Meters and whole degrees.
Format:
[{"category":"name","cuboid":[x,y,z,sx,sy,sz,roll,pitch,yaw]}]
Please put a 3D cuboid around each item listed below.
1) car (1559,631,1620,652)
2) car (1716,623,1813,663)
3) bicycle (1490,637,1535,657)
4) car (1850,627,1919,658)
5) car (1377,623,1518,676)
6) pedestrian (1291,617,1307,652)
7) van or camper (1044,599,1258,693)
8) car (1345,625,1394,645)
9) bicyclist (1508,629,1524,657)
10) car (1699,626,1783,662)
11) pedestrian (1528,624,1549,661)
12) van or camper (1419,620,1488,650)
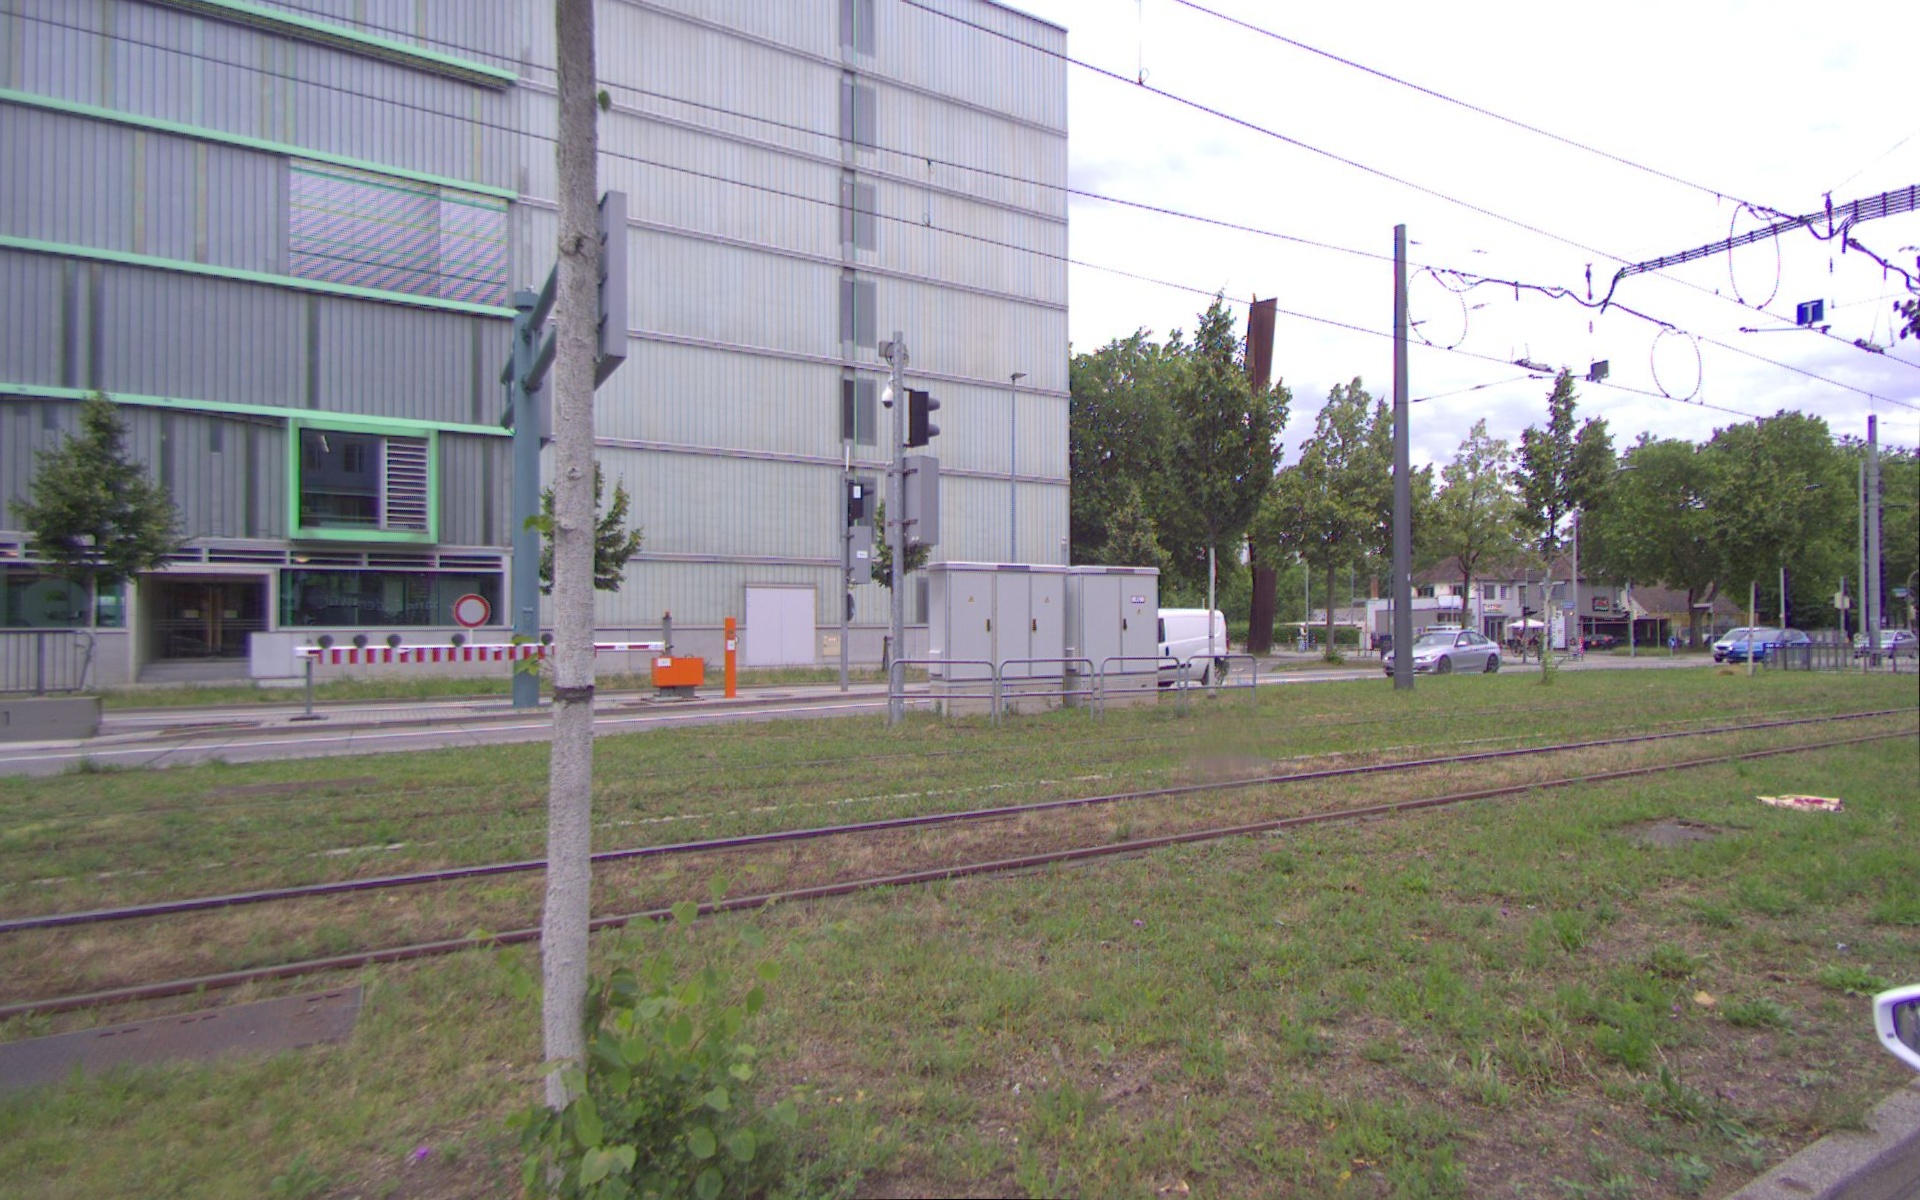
[{"category":"car","cuboid":[57.200,3.747,91.395,2.078,1.840,4.268,0,-1,-25]},{"category":"car","cuboid":[34.841,1.821,43.481,4.639,1.609,1.952,1,0,-33]},{"category":"bicycle","cuboid":[34.960,2.983,63.569,2.474,1.218,0.738,-1,-1,35]},{"category":"car","cuboid":[51.405,2.325,55.848,4.623,1.665,1.711,1,-1,-33]},{"category":"car","cuboid":[15.038,1.506,30.884,4.872,1.464,1.718,0,-3,-35]},{"category":"pedestrian","cuboid":[19.923,2.028,59.106,0.887,2.040,0.954,0,-1,18]},{"category":"van or camper","cuboid":[4.442,1.018,22.931,5.077,1.925,1.875,1,-2,-37]},{"category":"car","cuboid":[38.326,3.258,94.081,1.974,1.873,3.973,1,-1,-27]},{"category":"bicyclist","cuboid":[35.100,2.699,63.417,0.838,1.744,0.719,-1,-1,34]},{"category":"car","cuboid":[38.026,2.133,48.870,4.529,1.591,1.786,2,1,-32]},{"category":"pedestrian","cuboid":[29.080,2.123,50.467,0.769,1.857,0.771,-1,-1,43]},{"category":"van or camper","cuboid":[34.638,2.403,70.638,2.416,2.040,5.283,0,-1,3]}]
